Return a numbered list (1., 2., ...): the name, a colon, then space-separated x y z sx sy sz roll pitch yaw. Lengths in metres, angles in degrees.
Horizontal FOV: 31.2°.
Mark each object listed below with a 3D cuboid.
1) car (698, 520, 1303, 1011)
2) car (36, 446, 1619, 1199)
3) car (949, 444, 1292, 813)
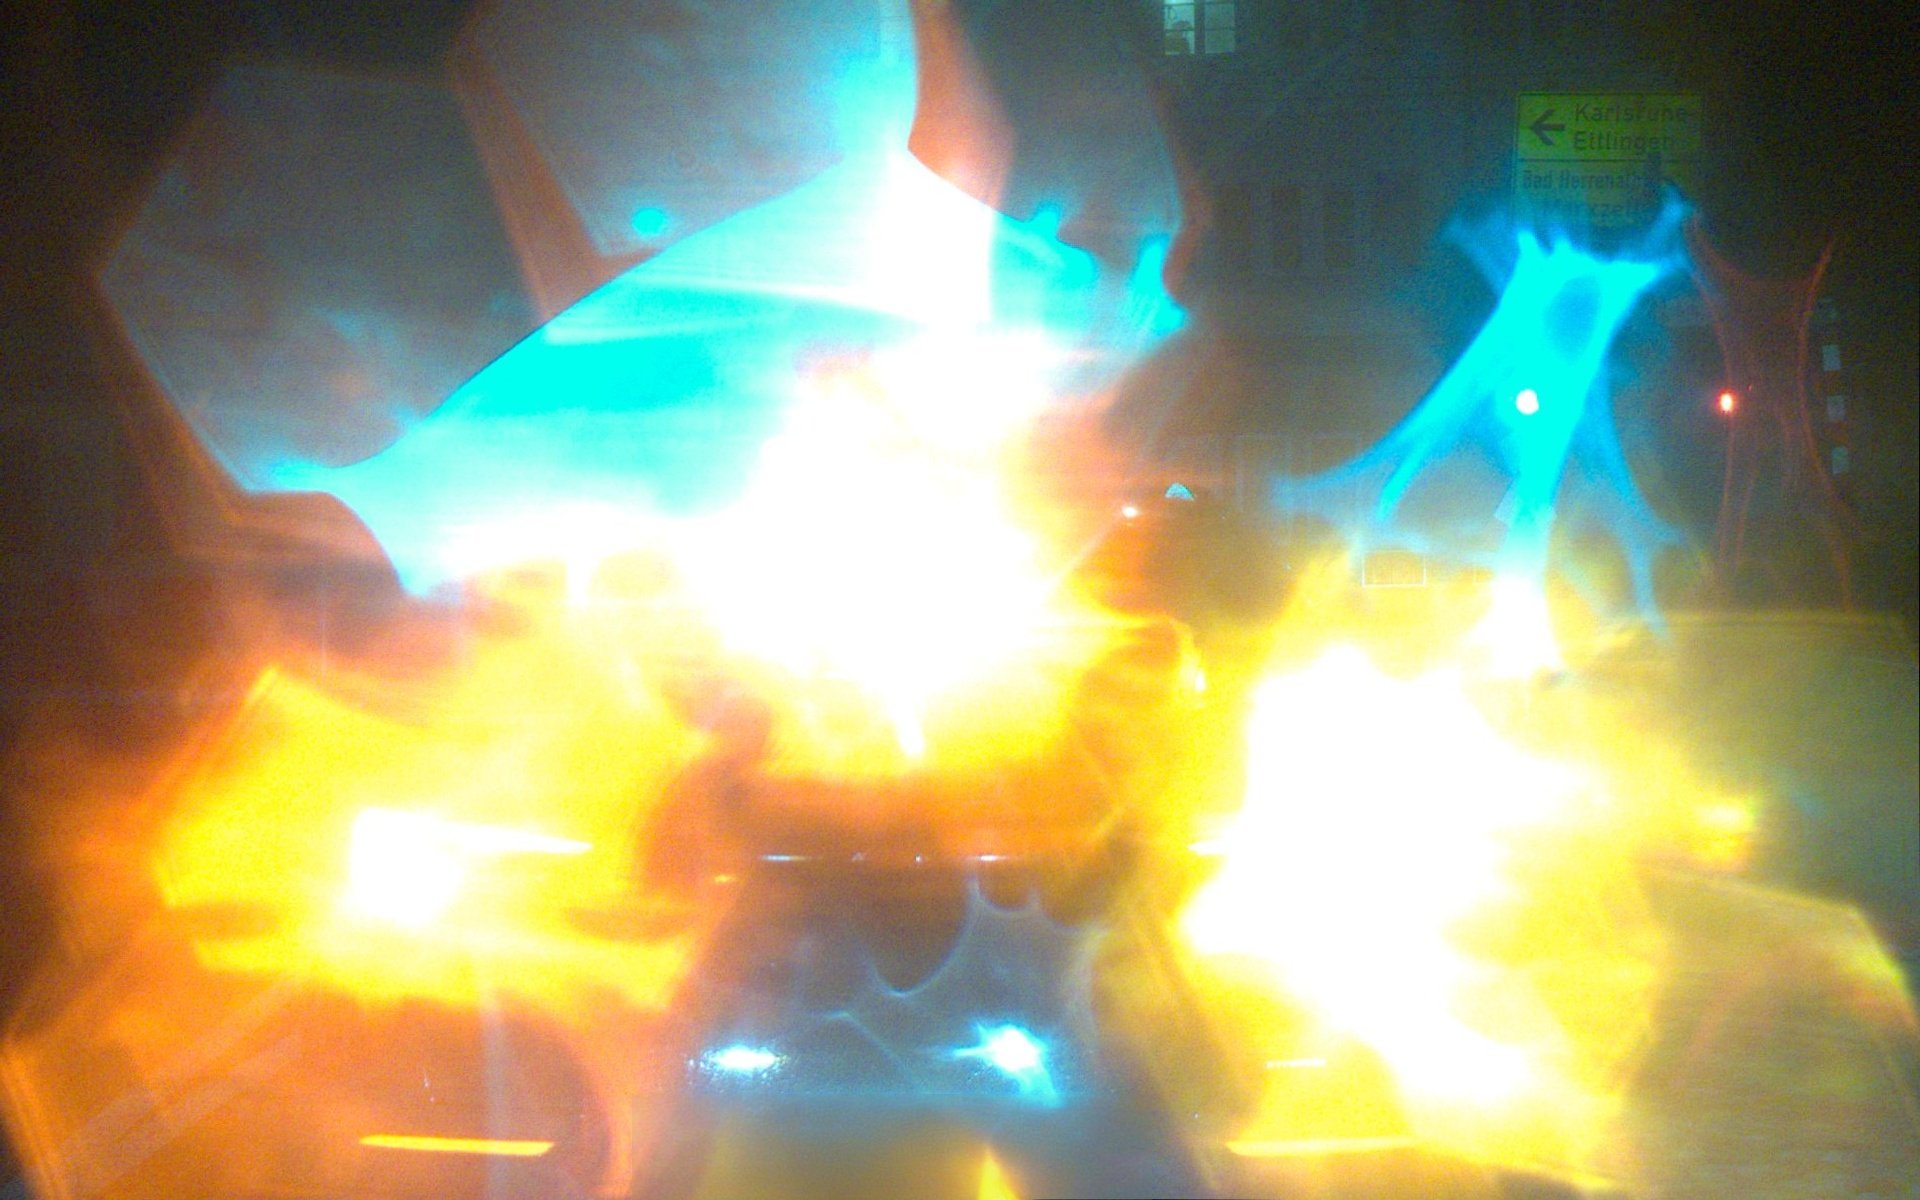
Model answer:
1. car: 0.133 0.493 13.366 1.909 1.505 4.241 -3 1 0
2. car: -0.192 0.606 6.547 2.057 1.672 4.140 0 1 -1
3. car: 1.088 0.074 21.167 1.771 1.940 4.254 3 3 6
